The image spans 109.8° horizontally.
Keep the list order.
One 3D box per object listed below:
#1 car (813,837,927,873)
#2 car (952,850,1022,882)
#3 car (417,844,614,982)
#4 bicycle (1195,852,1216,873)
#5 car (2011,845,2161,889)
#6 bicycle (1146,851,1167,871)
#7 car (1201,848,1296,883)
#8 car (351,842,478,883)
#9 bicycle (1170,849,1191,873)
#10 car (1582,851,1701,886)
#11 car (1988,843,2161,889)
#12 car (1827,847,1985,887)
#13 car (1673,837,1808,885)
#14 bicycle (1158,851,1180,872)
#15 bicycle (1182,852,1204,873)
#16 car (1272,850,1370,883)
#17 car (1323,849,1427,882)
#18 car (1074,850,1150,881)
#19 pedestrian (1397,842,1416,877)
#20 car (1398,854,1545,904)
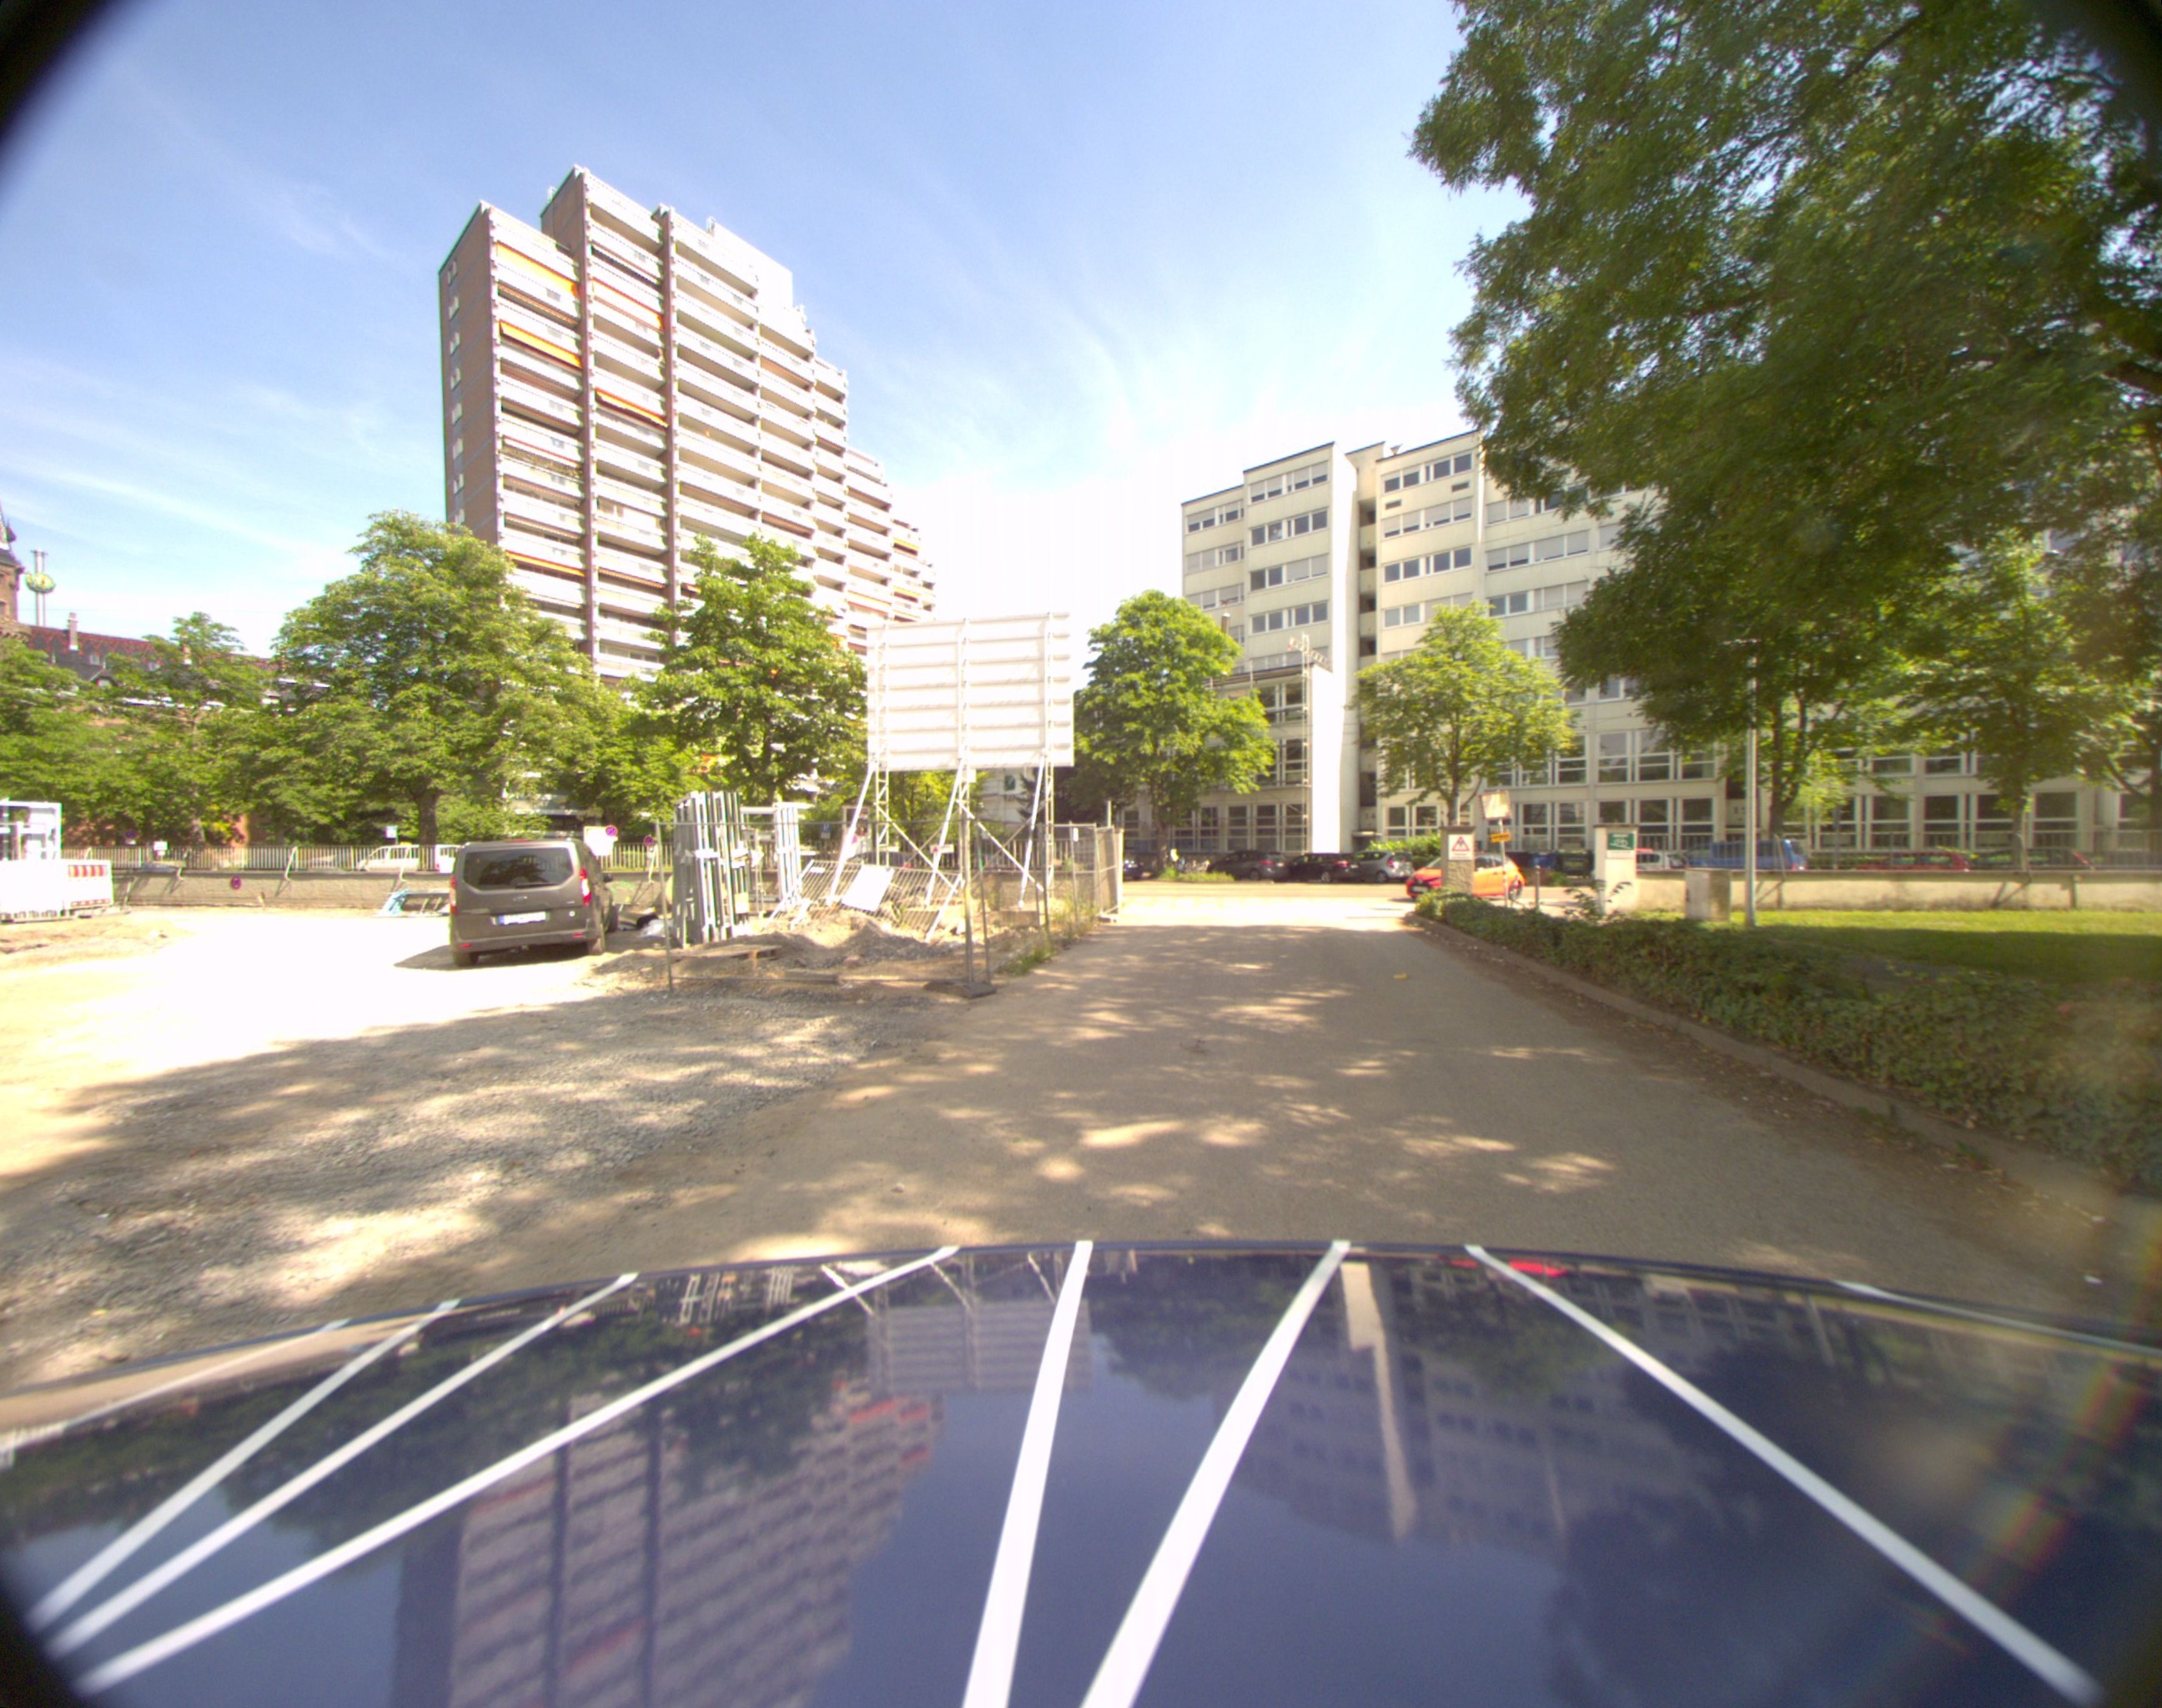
[{"bbox_3d":[-9.160,0.050,33.116,4.383,1.512,1.945,0,0,11],"label":"car"},{"bbox_3d":[-4.889,0.550,38.987,1.846,1.402,4.135,-3,3,-35],"label":"car"},{"bbox_3d":[-8.874,0.756,12.341,1.924,1.770,4.302,-2,2,-29],"label":"car"},{"bbox_3d":[7.156,0.486,43.731,0.488,1.193,2.020,0,1,31],"label":"bicycle"},{"bbox_3d":[40.022,0.500,30.035,1.836,1.630,3.990,0,0,-34],"label":"car"},{"bbox_3d":[4.491,0.412,45.288,0.488,1.193,2.020,0,1,29],"label":"bicycle"},{"bbox_3d":[8.035,0.527,36.847,1.811,1.556,4.379,-1,1,-36],"label":"car"},{"bbox_3d":[-33.274,0.409,37.972,5.240,1.934,1.998,0,1,11],"label":"car"},{"bbox_3d":[5.852,0.388,44.501,0.488,1.370,2.020,0,1,31],"label":"bicycle"},{"bbox_3d":[24.366,0.584,33.197,1.712,1.455,3.842,-1,0,-23],"label":"car"},{"bbox_3d":[37.912,0.453,29.044,1.807,1.630,3.990,0,0,-34],"label":"car"},{"bbox_3d":[33.820,0.510,31.271,1.786,1.529,4.209,0,0,-34],"label":"car"},{"bbox_3d":[27.736,0.299,32.078,1.790,1.895,3.990,0,0,-34],"label":"car"},{"bbox_3d":[5.193,0.440,44.868,0.488,1.193,2.020,0,1,31],"label":"bicycle"},{"bbox_3d":[6.506,0.463,44.019,0.488,1.193,2.020,0,1,31],"label":"bicycle"},{"bbox_3d":[11.331,0.558,36.059,1.805,1.467,4.174,-1,0,-37],"label":"car"},{"bbox_3d":[13.909,0.503,36.168,1.805,1.477,4.328,-1,0,-34],"label":"car"},{"bbox_3d":[1.490,0.524,37.816,1.657,1.443,3.989,-1,1,-36],"label":"car"},{"bbox_3d":[16.679,0.293,38.993,0.752,1.766,0.732,0,1,10],"label":"pedestrian"},{"bbox_3d":[11.808,0.713,22.972,4.180,1.404,1.659,0,0,-23],"label":"car"}]
